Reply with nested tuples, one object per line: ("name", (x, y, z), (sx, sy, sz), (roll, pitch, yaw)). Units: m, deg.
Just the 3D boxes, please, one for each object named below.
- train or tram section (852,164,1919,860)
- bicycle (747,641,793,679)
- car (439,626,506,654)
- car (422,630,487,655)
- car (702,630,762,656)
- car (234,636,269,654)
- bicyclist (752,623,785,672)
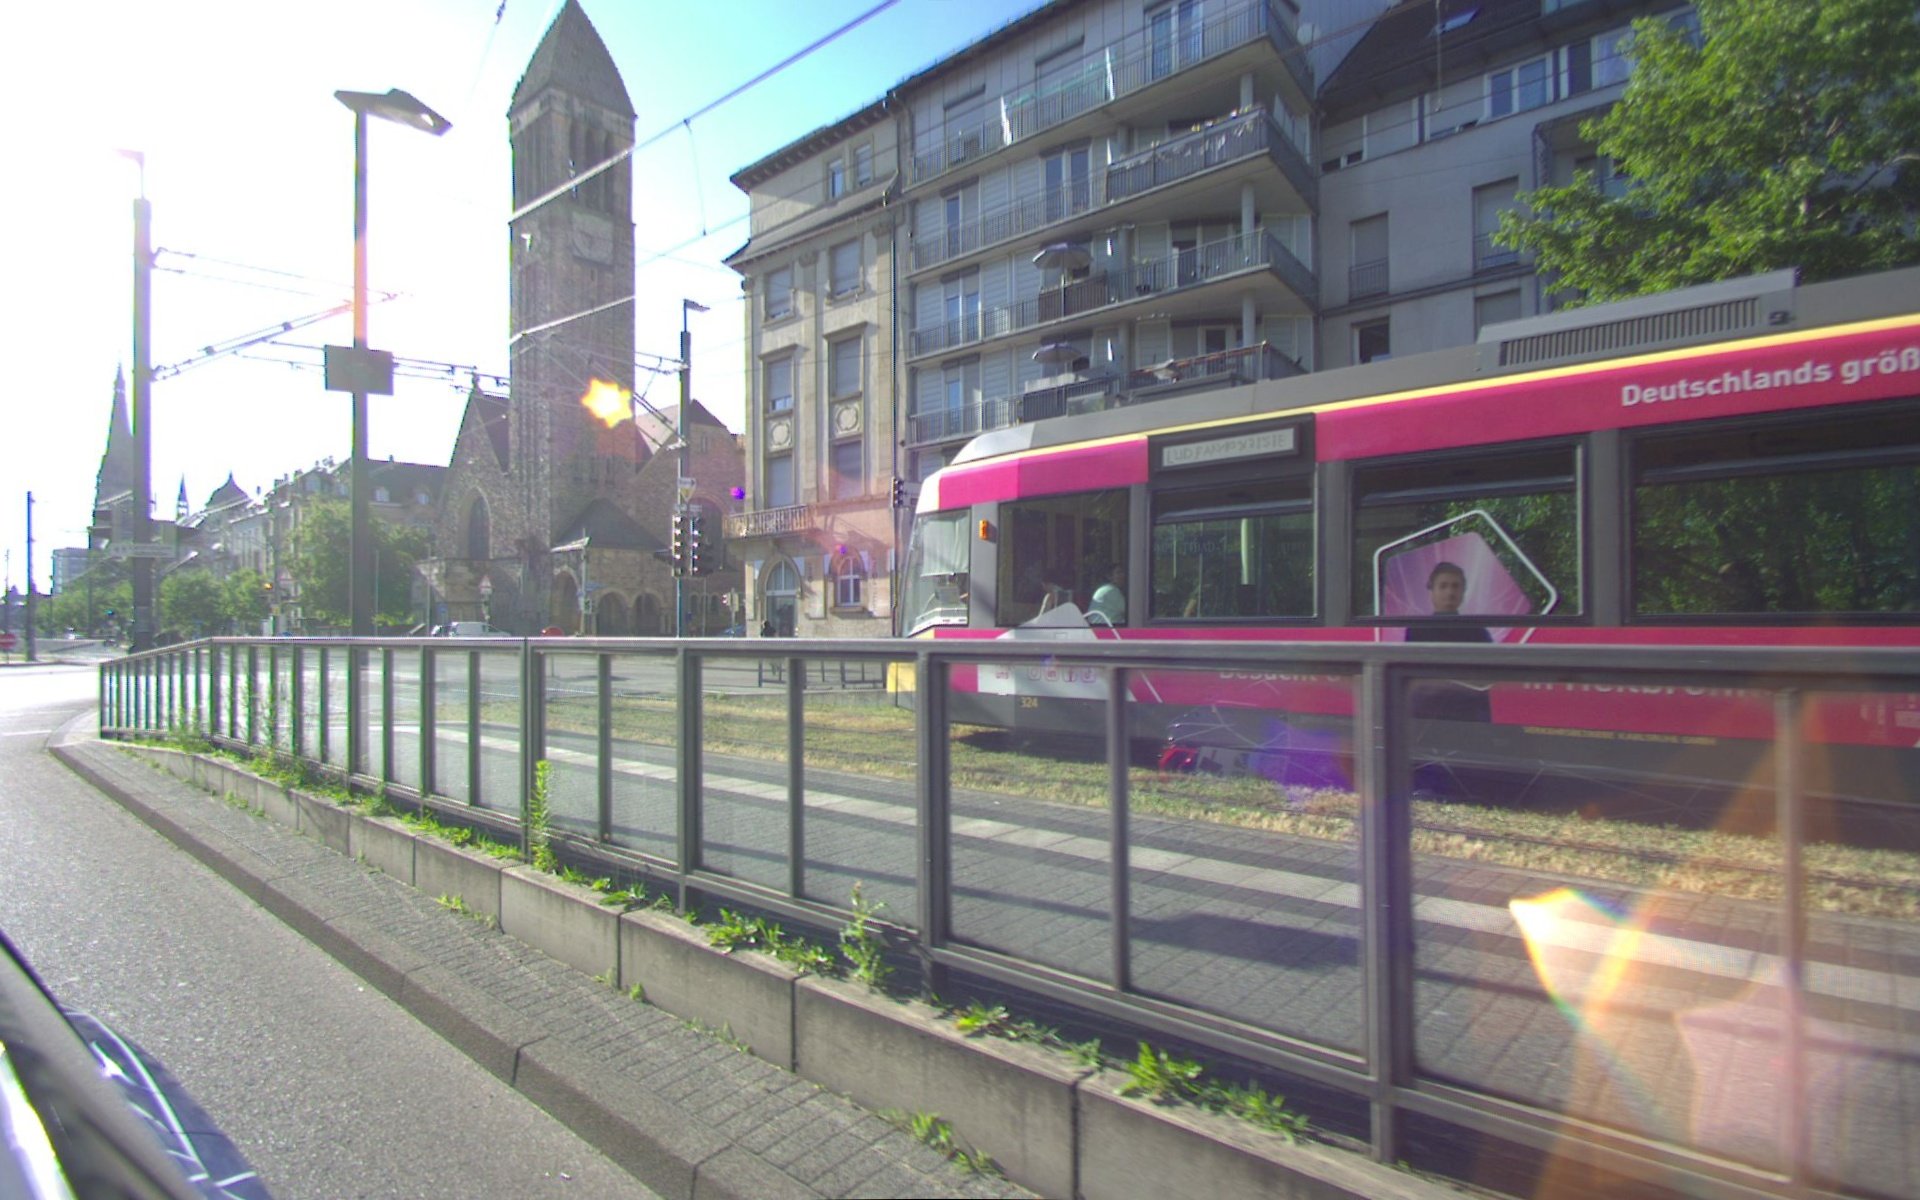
("train or tram section", (5.082, -0.426, 7.339), (14.559, 3.703, 2.838), (-2, -2, 43))
("bicycle", (-5.610, 1.793, 29.950), (0.530, 1.062, 1.813), (-3, -5, 18))
("car", (-35.332, 2.899, 73.406), (1.870, 1.819, 3.971), (-2, 0, 43))
("car", (-37.531, 3.107, 75.182), (1.768, 1.642, 3.987), (-2, 0, 43))
("car", (-14.810, 2.778, 65.918), (1.828, 1.430, 4.260), (-2, 0, 18))
("car", (-65.048, 4.124, 92.902), (4.214, 1.541, 1.762), (-2, 0, 43))
("bicyclist", (-5.644, 1.416, 29.890), (0.530, 1.383, 1.012), (-3, -5, 18))
